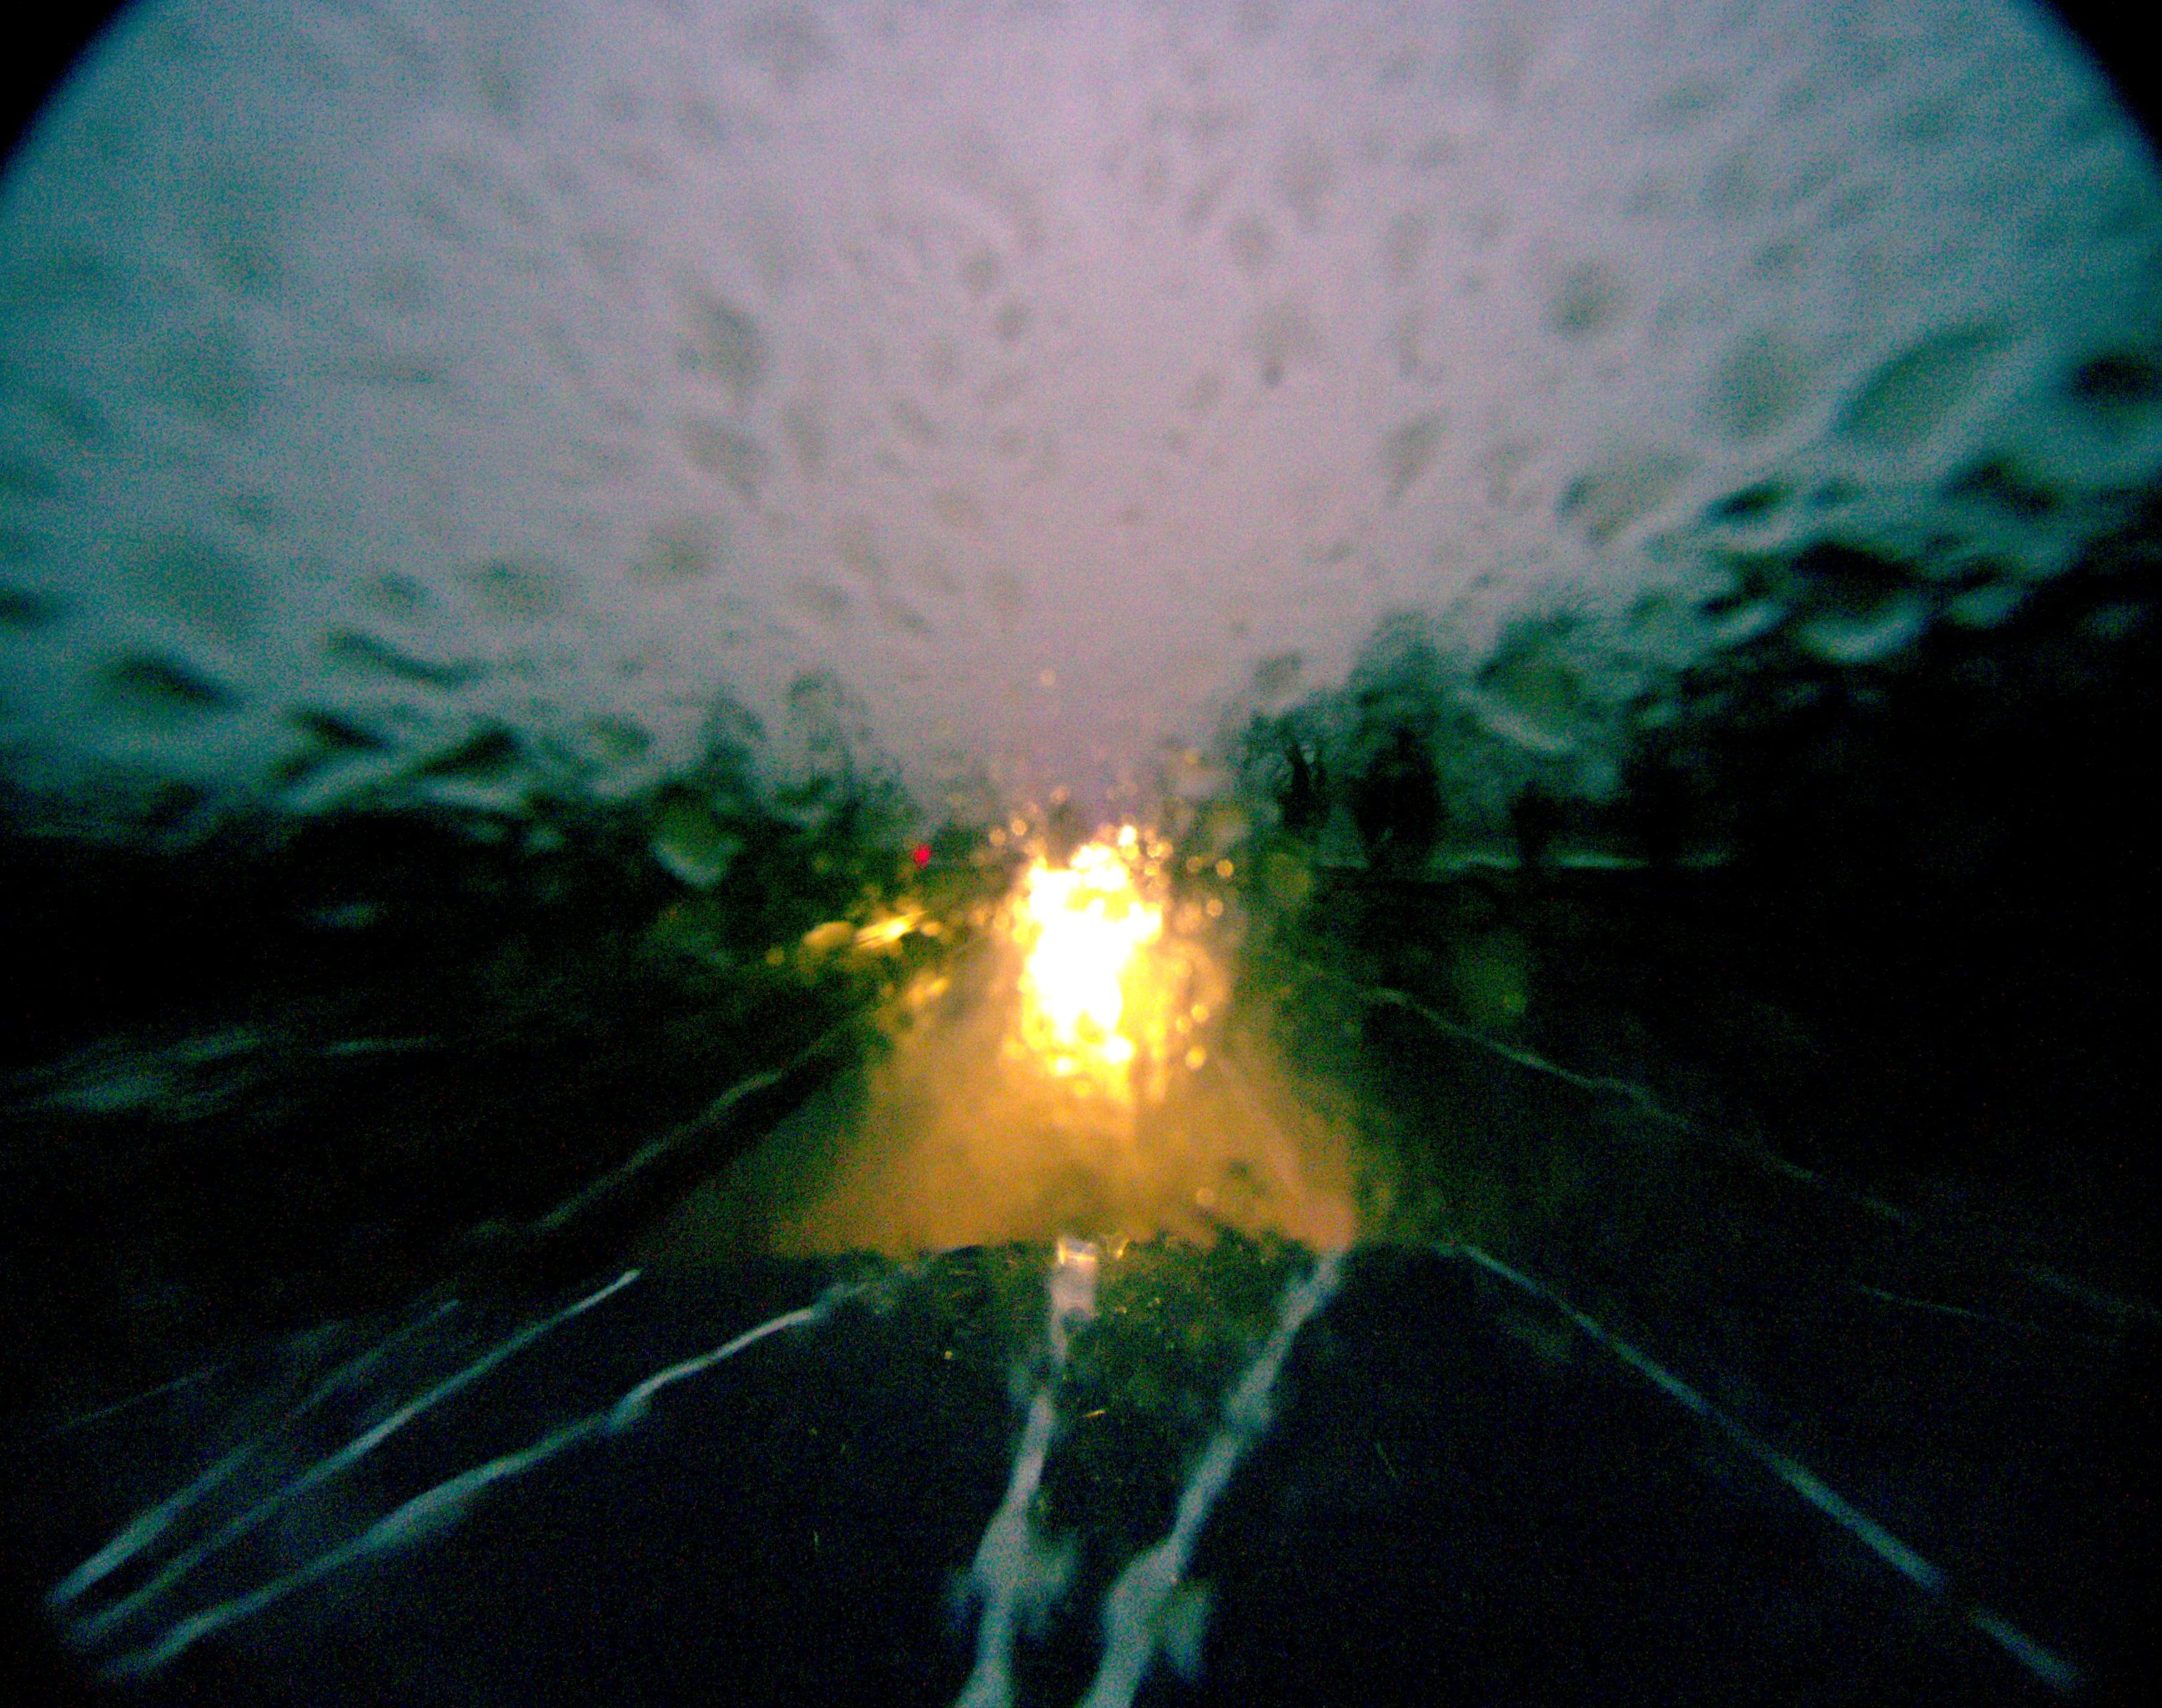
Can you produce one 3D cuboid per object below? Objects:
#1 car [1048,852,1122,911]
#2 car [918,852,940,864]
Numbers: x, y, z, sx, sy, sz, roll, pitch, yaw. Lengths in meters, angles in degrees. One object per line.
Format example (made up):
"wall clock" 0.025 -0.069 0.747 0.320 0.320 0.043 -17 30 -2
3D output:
"car" 0.032 0.817 24.752 2.102 1.566 4.797 -3 1 -2
"car" -24.256 0.722 121.199 2.002 1.612 4.587 -8 3 -30
